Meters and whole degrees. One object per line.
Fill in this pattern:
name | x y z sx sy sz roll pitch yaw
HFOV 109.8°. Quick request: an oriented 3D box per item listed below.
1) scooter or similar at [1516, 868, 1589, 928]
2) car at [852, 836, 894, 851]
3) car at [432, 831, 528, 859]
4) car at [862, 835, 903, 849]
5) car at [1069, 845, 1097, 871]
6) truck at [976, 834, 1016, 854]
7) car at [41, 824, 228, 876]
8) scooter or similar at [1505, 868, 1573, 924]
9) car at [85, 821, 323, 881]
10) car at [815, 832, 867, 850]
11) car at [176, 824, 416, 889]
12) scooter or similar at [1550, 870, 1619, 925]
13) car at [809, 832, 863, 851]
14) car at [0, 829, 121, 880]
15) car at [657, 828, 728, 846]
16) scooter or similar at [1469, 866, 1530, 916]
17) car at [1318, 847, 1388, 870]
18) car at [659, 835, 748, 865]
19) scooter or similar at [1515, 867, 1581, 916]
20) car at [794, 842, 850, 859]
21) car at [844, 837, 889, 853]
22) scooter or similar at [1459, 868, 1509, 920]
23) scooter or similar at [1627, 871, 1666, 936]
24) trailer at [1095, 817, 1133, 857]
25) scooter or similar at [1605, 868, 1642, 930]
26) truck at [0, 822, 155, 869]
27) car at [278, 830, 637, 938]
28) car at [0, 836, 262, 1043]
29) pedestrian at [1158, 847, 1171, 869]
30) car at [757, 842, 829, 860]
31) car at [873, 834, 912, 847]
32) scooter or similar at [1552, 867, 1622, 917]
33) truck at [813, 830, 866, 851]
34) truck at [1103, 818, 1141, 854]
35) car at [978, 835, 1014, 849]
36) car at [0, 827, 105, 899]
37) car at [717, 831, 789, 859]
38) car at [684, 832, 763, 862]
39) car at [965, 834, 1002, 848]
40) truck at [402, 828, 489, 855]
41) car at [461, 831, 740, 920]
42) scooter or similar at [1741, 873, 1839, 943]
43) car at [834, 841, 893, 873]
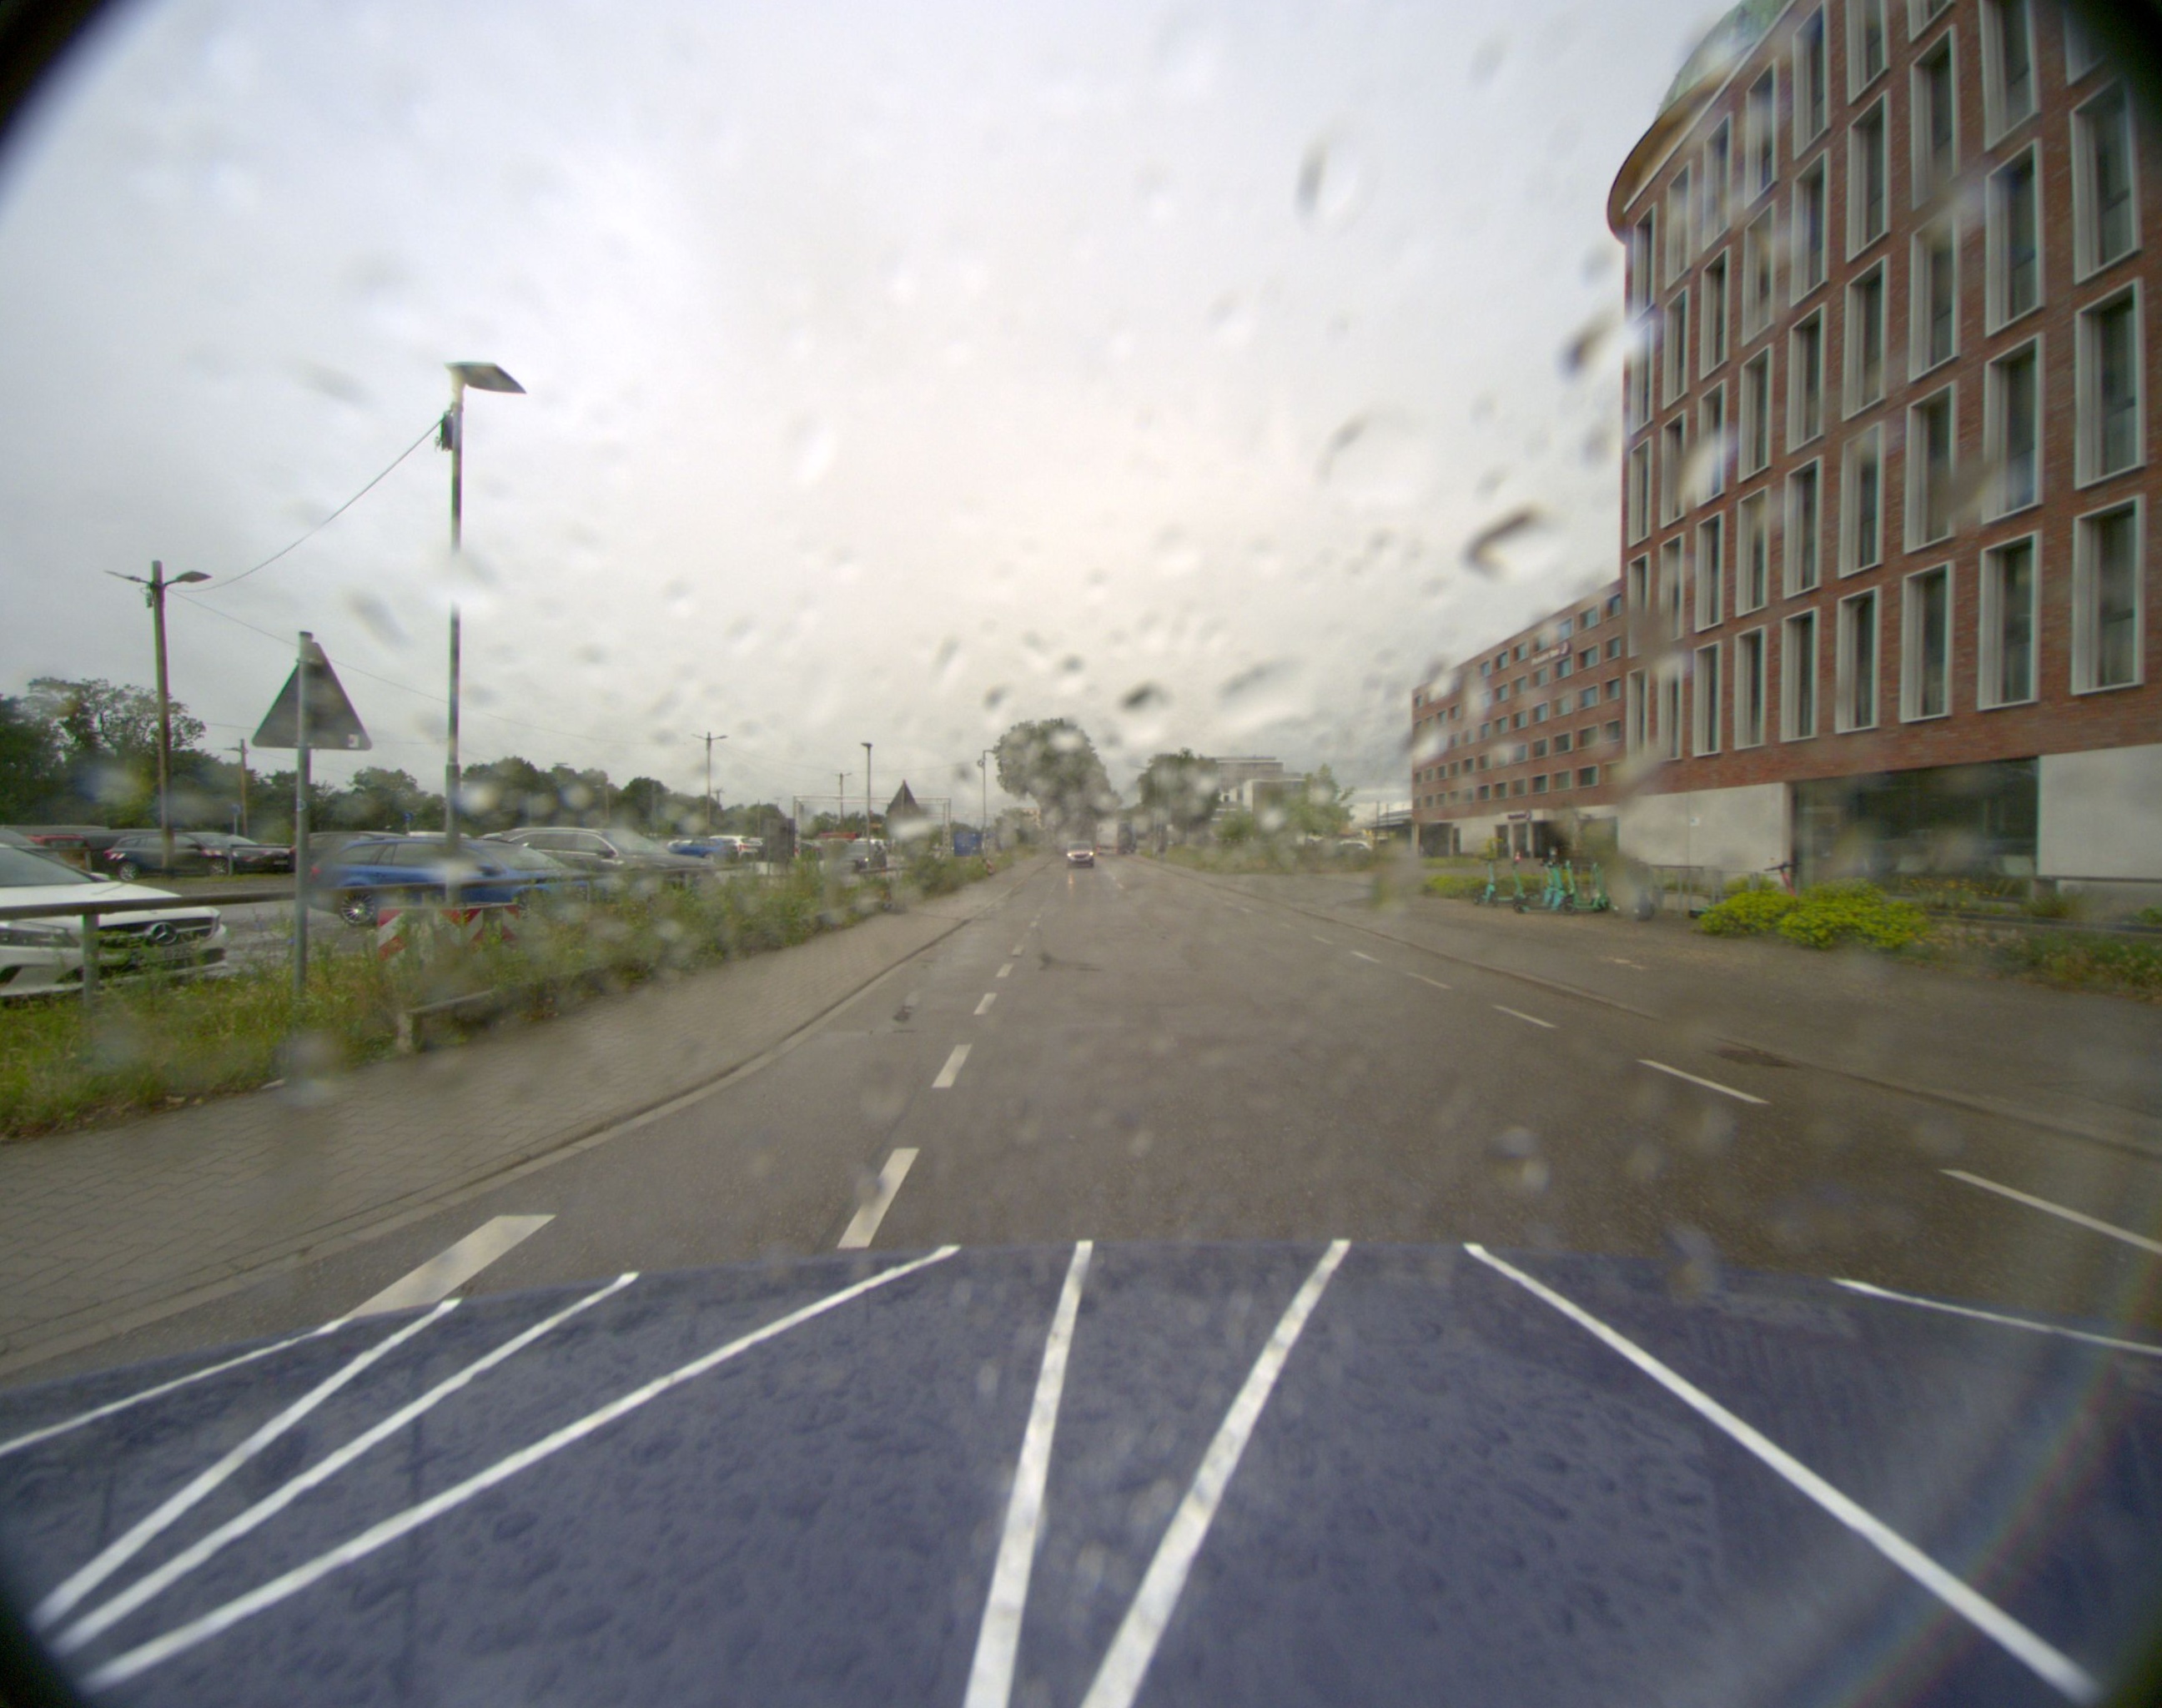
scooter or similar | 10.281 0.948 16.615 1.317 1.223 0.468 1 2 29
car | -22.187 -1.151 81.141 3.961 1.419 1.886 1 3 2
car | -37.750 -0.604 47.841 4.329 1.711 2.020 0 2 -3
car | -21.764 -1.284 83.349 3.961 1.419 1.886 1 3 2
car | 0.131 0.267 52.169 1.838 1.714 4.171 1 1 -1
truck | -11.296 -1.339 101.498 5.047 2.389 2.109 -1 3 -2
car | -37.481 -0.173 30.191 4.796 1.987 2.020 0 2 0
scooter or similar | 10.834 0.963 18.006 0.468 1.223 1.317 -1 2 -29
car | -26.456 -0.115 23.068 4.714 1.597 2.042 1 3 -1
car | -21.072 -1.157 66.937 3.961 1.482 1.869 1 3 2
car | -23.110 0.028 22.562 4.633 1.707 2.017 -2 3 -6
scooter or similar | 11.320 0.962 17.092 1.321 1.171 0.467 0 2 -12
car | -20.794 -1.055 64.667 3.961 1.482 1.869 1 3 2
car | -38.187 -0.006 27.548 4.000 1.759 1.788 0 2 -9
car | -27.597 -1.213 54.017 4.071 1.066 1.831 1 3 -2
scooter or similar | 11.006 0.948 19.995 1.317 1.223 0.509 1 3 38
car | 20.443 0.337 57.136 4.534 1.632 1.999 -1 2 -3
car | -21.231 -0.222 42.881 4.054 1.476 1.927 2 3 3
scooter or similar | 11.629 0.934 18.947 1.319 1.171 0.467 0 2 6
car | -21.024 -0.289 61.758 3.896 1.214 1.647 1 3 5
car | -21.283 -0.876 75.609 3.961 1.482 1.777 1 3 2
scooter or similar | 10.178 0.983 19.231 0.467 1.223 1.320 0 2 -3
scooter or similar | 11.362 0.964 15.257 0.466 1.201 1.210 2 3 42
trailer | 4.372 -2.188 95.708 3.300 4.628 13.737 0 2 9
scooter or similar | 11.559 0.926 16.170 0.466 1.223 1.210 2 3 42
truck | -49.421 -0.436 37.038 2.076 2.126 5.084 0 2 5
car | -10.012 0.433 12.476 4.306 1.509 1.818 -1 3 1
car | -10.169 0.670 6.487 4.192 1.501 1.889 -1 3 1
pedestrian | 6.802 0.315 61.714 0.911 1.709 1.026 -1 3 0
car | -21.592 -0.214 57.127 4.599 1.214 1.977 1 3 -1
car | -21.485 -1.527 86.679 3.961 1.419 1.886 1 3 2
scooter or similar | 12.239 0.919 18.384 1.319 1.171 0.467 0 2 6
truck | -27.511 -1.538 86.754 5.302 2.355 2.152 0 2 0
truck | 5.608 -2.440 102.663 3.297 4.628 6.041 1 2 22
car | -9.685 -1.413 86.705 3.906 1.415 1.904 -2 3 -2
car | -27.497 0.161 18.595 4.452 1.597 2.042 1 3 -1
car | -20.923 -0.594 48.535 3.783 1.575 1.786 2 3 3
car | -21.529 -0.443 45.868 3.912 1.575 1.786 2 3 3
car | -10.754 -1.459 83.997 3.781 1.386 1.904 -2 3 -2
truck | -48.379 -0.984 58.007 2.086 2.002 5.278 0 1 1
car | -10.213 0.390 16.427 4.691 1.726 2.127 0 3 4
scooter or similar | 12.591 0.951 13.519 1.228 1.201 0.417 0 2 7
car | -10.705 0.129 37.625 1.900 1.448 4.225 1 1 -3
